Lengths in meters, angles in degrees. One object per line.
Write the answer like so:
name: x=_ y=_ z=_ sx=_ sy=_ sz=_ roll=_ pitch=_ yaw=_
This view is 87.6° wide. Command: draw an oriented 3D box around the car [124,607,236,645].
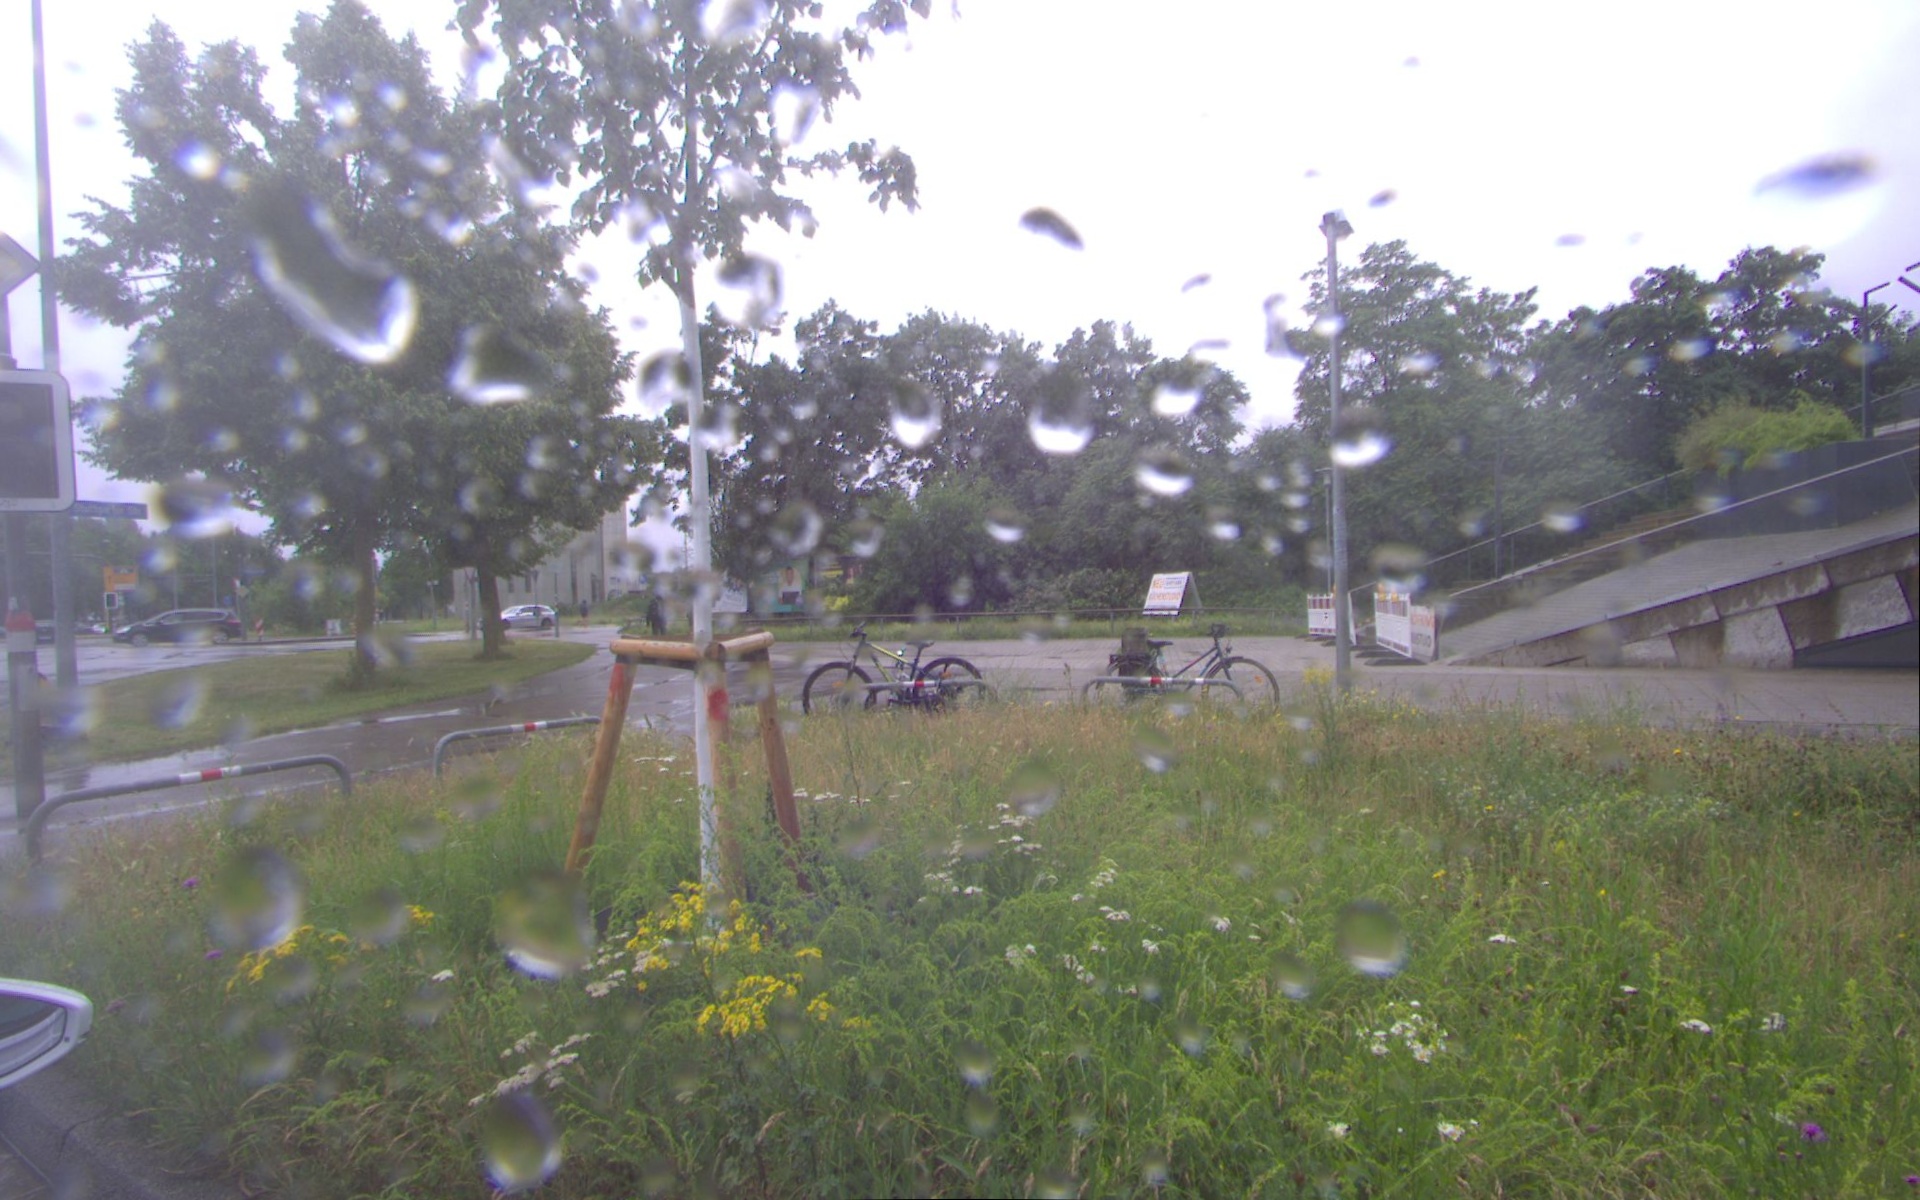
car: x=-35.581 y=1.189 z=45.721 sx=3.956 sy=1.668 sz=1.774 roll=1 pitch=-2 yaw=-40

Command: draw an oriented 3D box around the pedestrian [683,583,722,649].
pedestrian: x=-7.203 y=0.451 z=28.033 sx=0.906 sy=1.807 sz=0.808 roll=0 pitch=-1 yaw=-3

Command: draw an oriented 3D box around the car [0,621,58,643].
car: x=-78.577 y=2.697 z=84.472 sx=1.964 sy=1.772 sz=3.996 roll=0 pitch=-2 yaw=-14

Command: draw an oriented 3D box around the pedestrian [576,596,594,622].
pedestrian: x=-25.915 y=0.610 z=69.147 sx=0.705 sy=1.794 sz=0.948 roll=-1 pitch=-2 yaw=42

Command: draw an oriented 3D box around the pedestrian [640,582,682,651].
pedestrian: x=-7.940 y=0.447 z=26.610 sx=0.906 sy=1.807 sz=0.808 roll=0 pitch=-1 yaw=-3

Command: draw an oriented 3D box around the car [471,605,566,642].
car: x=-25.662 y=1.342 z=58.377 sx=1.763 sy=1.836 sz=4.809 roll=0 pitch=3 yaw=32

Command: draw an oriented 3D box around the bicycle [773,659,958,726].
bicycle: x=-0.912 y=0.890 z=9.780 sx=1.771 sy=0.566 sz=0.320 roll=-1 pitch=1 yaw=-17

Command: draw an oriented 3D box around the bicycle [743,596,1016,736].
bicycle: x=-0.739 y=0.581 z=9.382 sx=2.480 sy=1.205 sz=0.552 roll=-1 pitch=1 yaw=-17

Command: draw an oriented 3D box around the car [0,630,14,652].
car: x=-75.842 y=3.182 z=77.124 sx=1.744 sy=1.766 sz=4.867 roll=0 pitch=-2 yaw=-7

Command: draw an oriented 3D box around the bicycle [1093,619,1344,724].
bicycle: x=2.327 y=0.610 z=9.121 sx=2.130 sy=0.858 sz=0.634 roll=-1 pitch=0 yaw=28

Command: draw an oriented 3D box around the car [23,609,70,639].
car: x=-47.923 y=1.245 z=52.504 sx=1.678 sy=1.512 sz=3.218 roll=-1 pitch=1 yaw=-45
